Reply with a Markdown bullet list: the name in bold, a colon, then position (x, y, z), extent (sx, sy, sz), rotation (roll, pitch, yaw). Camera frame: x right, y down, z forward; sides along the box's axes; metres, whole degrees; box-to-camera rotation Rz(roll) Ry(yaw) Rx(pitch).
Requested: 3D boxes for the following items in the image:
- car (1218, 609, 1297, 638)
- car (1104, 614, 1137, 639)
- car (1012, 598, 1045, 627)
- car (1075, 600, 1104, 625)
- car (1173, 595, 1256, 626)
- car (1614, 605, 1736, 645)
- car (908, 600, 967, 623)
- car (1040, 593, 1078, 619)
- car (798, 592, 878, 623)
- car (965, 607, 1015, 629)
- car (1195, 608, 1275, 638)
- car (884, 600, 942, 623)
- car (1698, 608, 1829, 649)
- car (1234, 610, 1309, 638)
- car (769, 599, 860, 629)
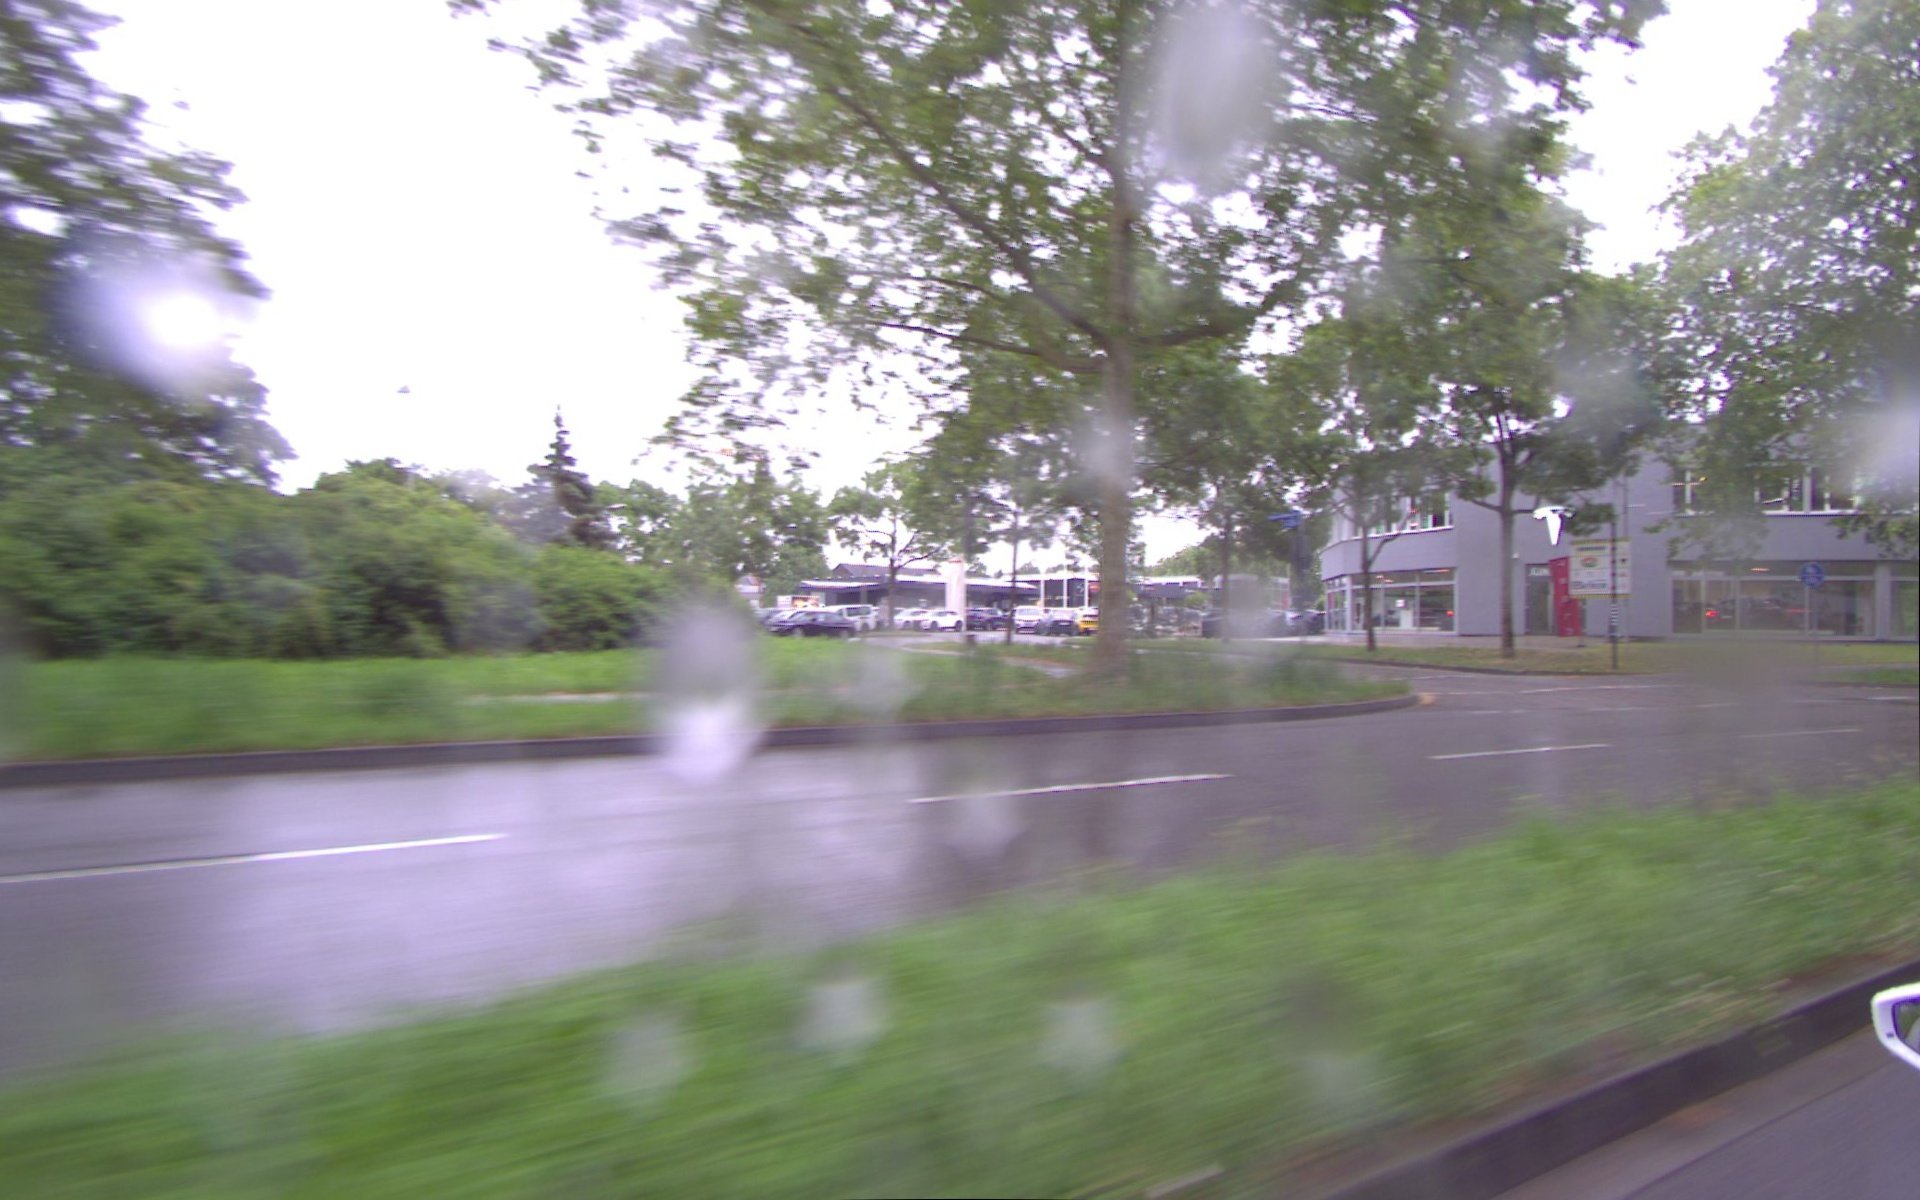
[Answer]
- **car**: position (17.091, 1.343, 57.821), extent (1.585, 1.514, 4.156), rotation (1, 0, -40)
- **car**: position (10.376, 1.688, 65.308), extent (1.566, 1.514, 4.206), rotation (1, 0, 2)
- **car**: position (4.582, 0.832, 67.125), extent (1.781, 1.838, 4.207), rotation (1, 0, 9)
- **car**: position (8.264, 0.759, 64.279), extent (1.566, 1.514, 3.073), rotation (1, 0, 2)
- **car**: position (13.467, 0.555, 53.341), extent (1.585, 1.514, 4.156), rotation (1, 0, -40)
- **car**: position (29.495, 1.015, 41.594), extent (1.570, 1.514, 4.197), rotation (1, 0, -11)
- **car**: position (-1.505, 0.799, 69.163), extent (1.575, 1.514, 4.182), rotation (1, 0, 42)
- **car**: position (6.155, 0.386, 62.796), extent (1.848, 1.514, 4.205), rotation (1, 0, 0)
- **car**: position (-7.829, 0.520, 65.012), extent (1.769, 1.889, 5.200), rotation (1, 0, 44)
- **car**: position (2.216, 1.336, 73.707), extent (1.572, 1.514, 4.190), rotation (1, 0, 36)
- **car**: position (15.295, 1.266, 56.070), extent (1.585, 1.514, 4.156), rotation (1, 0, -40)
- **car**: position (-3.249, 0.816, 70.621), extent (1.575, 1.514, 4.182), rotation (1, 0, 42)
- **car**: position (33.043, 1.129, 41.455), extent (1.570, 1.514, 4.197), rotation (1, 0, -11)
- **car**: position (18.732, 1.424, 60.568), extent (1.585, 1.514, 4.156), rotation (1, 0, -40)
- **car**: position (-6.975, 0.699, 48.553), extent (1.576, 1.376, 4.265), rotation (1, 0, 45)
